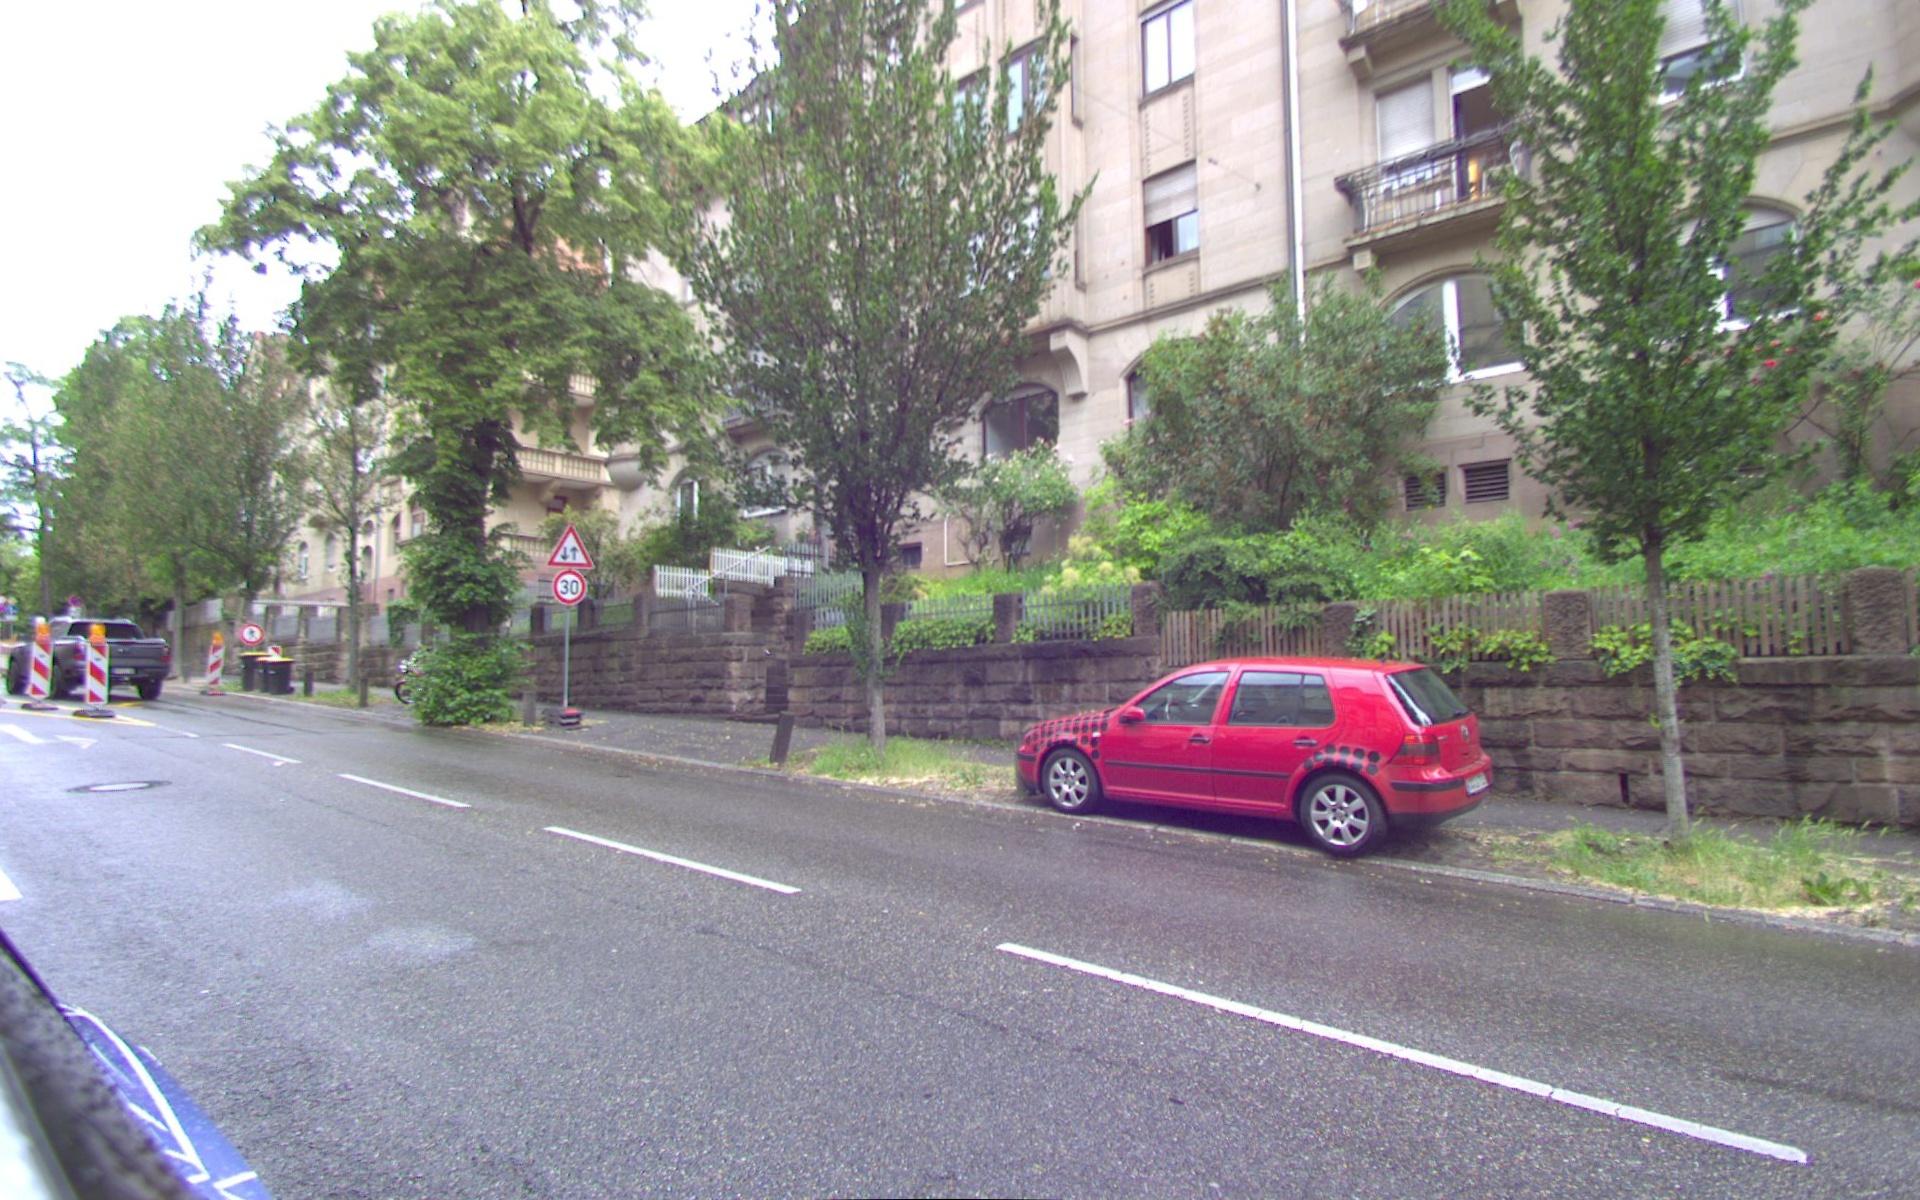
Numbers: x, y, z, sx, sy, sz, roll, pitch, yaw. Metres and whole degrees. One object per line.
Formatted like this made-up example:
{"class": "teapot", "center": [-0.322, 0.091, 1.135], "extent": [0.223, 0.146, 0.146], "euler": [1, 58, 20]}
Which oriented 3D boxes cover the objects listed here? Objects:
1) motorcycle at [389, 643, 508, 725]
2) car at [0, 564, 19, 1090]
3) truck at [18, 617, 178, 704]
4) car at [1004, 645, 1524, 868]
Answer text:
{"class": "motorcycle", "center": [-9.722, 1.546, 19.160], "extent": [3.058, 1.425, 0.792], "euler": [-2, -2, 38]}
{"class": "car", "center": [-5.341, 0.757, 4.108], "extent": [4.520, 1.685, 1.799], "euler": [-2, -3, 42]}
{"class": "truck", "center": [-20.464, 1.427, 23.943], "extent": [5.150, 1.850, 2.049], "euler": [-2, -6, 41]}
{"class": "car", "center": [2.450, 1.147, 8.833], "extent": [4.062, 1.462, 1.596], "euler": [-2, -3, 42]}
